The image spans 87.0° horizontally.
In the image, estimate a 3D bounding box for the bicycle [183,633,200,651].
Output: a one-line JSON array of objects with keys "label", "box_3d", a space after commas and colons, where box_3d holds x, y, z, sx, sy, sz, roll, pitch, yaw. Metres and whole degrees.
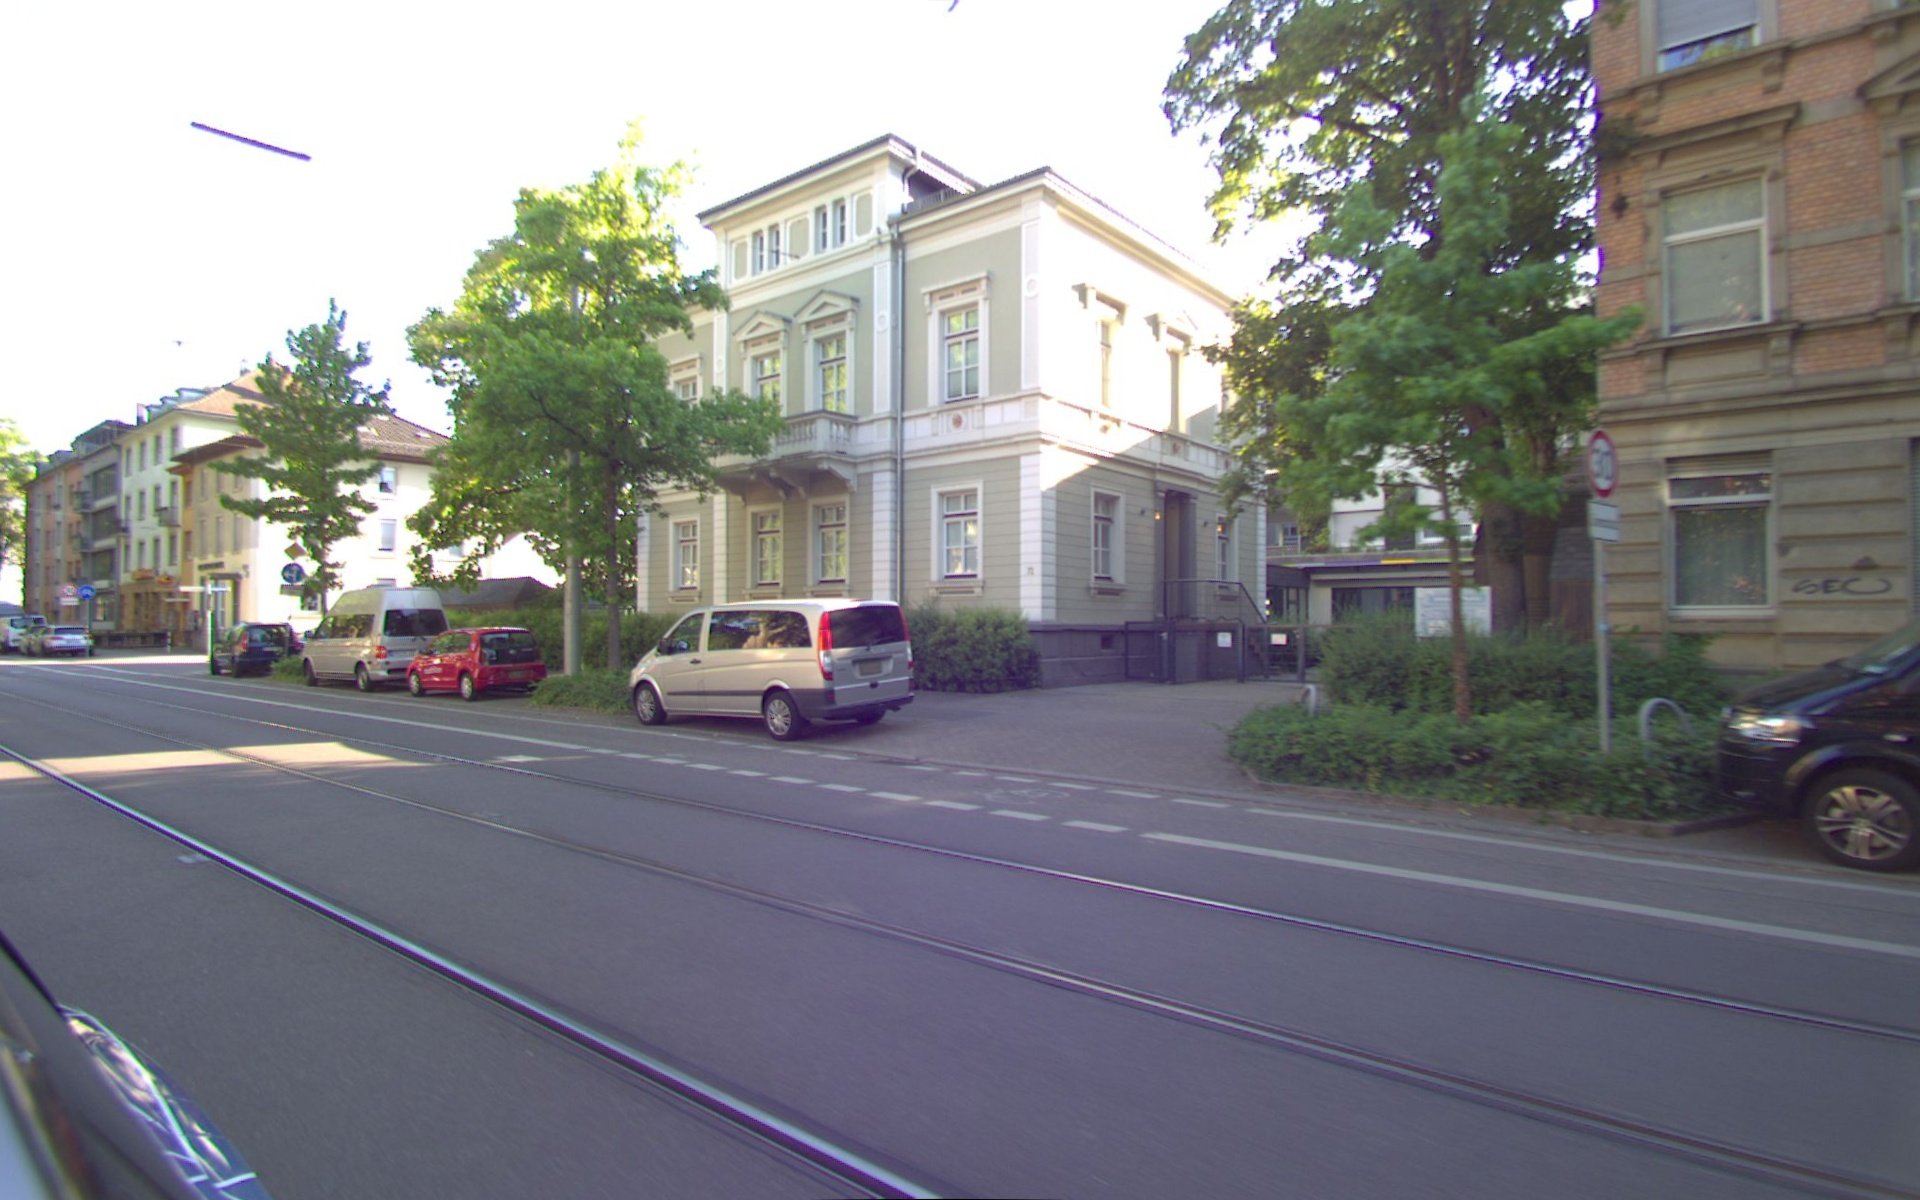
[{"label": "bicycle", "box_3d": [-40.755, 2.242, 53.642, 1.646, 0.935, 0.358, -2, -2, 40]}]

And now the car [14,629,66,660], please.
[{"label": "car", "box_3d": [-46.096, 2.211, 50.711, 2.880, 1.504, 1.555, -1, -1, 40]}]

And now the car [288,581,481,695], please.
[{"label": "car", "box_3d": [-14.329, 0.930, 25.062, 5.336, 2.527, 2.282, -1, -2, 38]}]

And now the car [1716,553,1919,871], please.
[{"label": "car", "box_3d": [7.830, 0.714, 6.392, 4.828, 2.029, 1.974, -1, -2, 39]}]

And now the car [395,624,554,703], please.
[{"label": "car", "box_3d": [-10.501, 1.315, 21.813, 3.703, 1.551, 1.668, -1, -2, 39]}]

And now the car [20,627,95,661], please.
[{"label": "car", "box_3d": [-42.681, 2.069, 47.828, 4.933, 1.504, 1.755, -1, -1, 37]}]

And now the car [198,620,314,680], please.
[{"label": "car", "box_3d": [-21.492, 1.481, 30.848, 4.260, 1.703, 1.971, -2, -2, 42]}]

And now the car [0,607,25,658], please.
[{"label": "car", "box_3d": [-55.639, 1.893, 58.332, 4.542, 2.767, 1.904, -1, 2, 40]}]

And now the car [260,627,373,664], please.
[{"label": "car", "box_3d": [-29.524, 2.070, 46.513, 1.966, 1.630, 4.017, -2, -3, 43]}]

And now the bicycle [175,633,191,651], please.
[{"label": "bicycle", "box_3d": [-42.031, 2.279, 54.733, 1.646, 0.935, 0.358, -2, -2, 40]}]

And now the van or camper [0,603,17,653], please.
[{"label": "van or camper", "box_3d": [-60.689, 1.773, 62.817, 5.987, 2.999, 2.393, -1, 1, 41]}]

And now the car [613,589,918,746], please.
[{"label": "car", "box_3d": [-3.064, 0.933, 15.278, 4.984, 2.004, 1.825, -2, -2, 41]}]

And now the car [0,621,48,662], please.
[{"label": "car", "box_3d": [-50.922, 2.203, 54.515, 4.935, 2.062, 1.904, -1, -1, 39]}]
